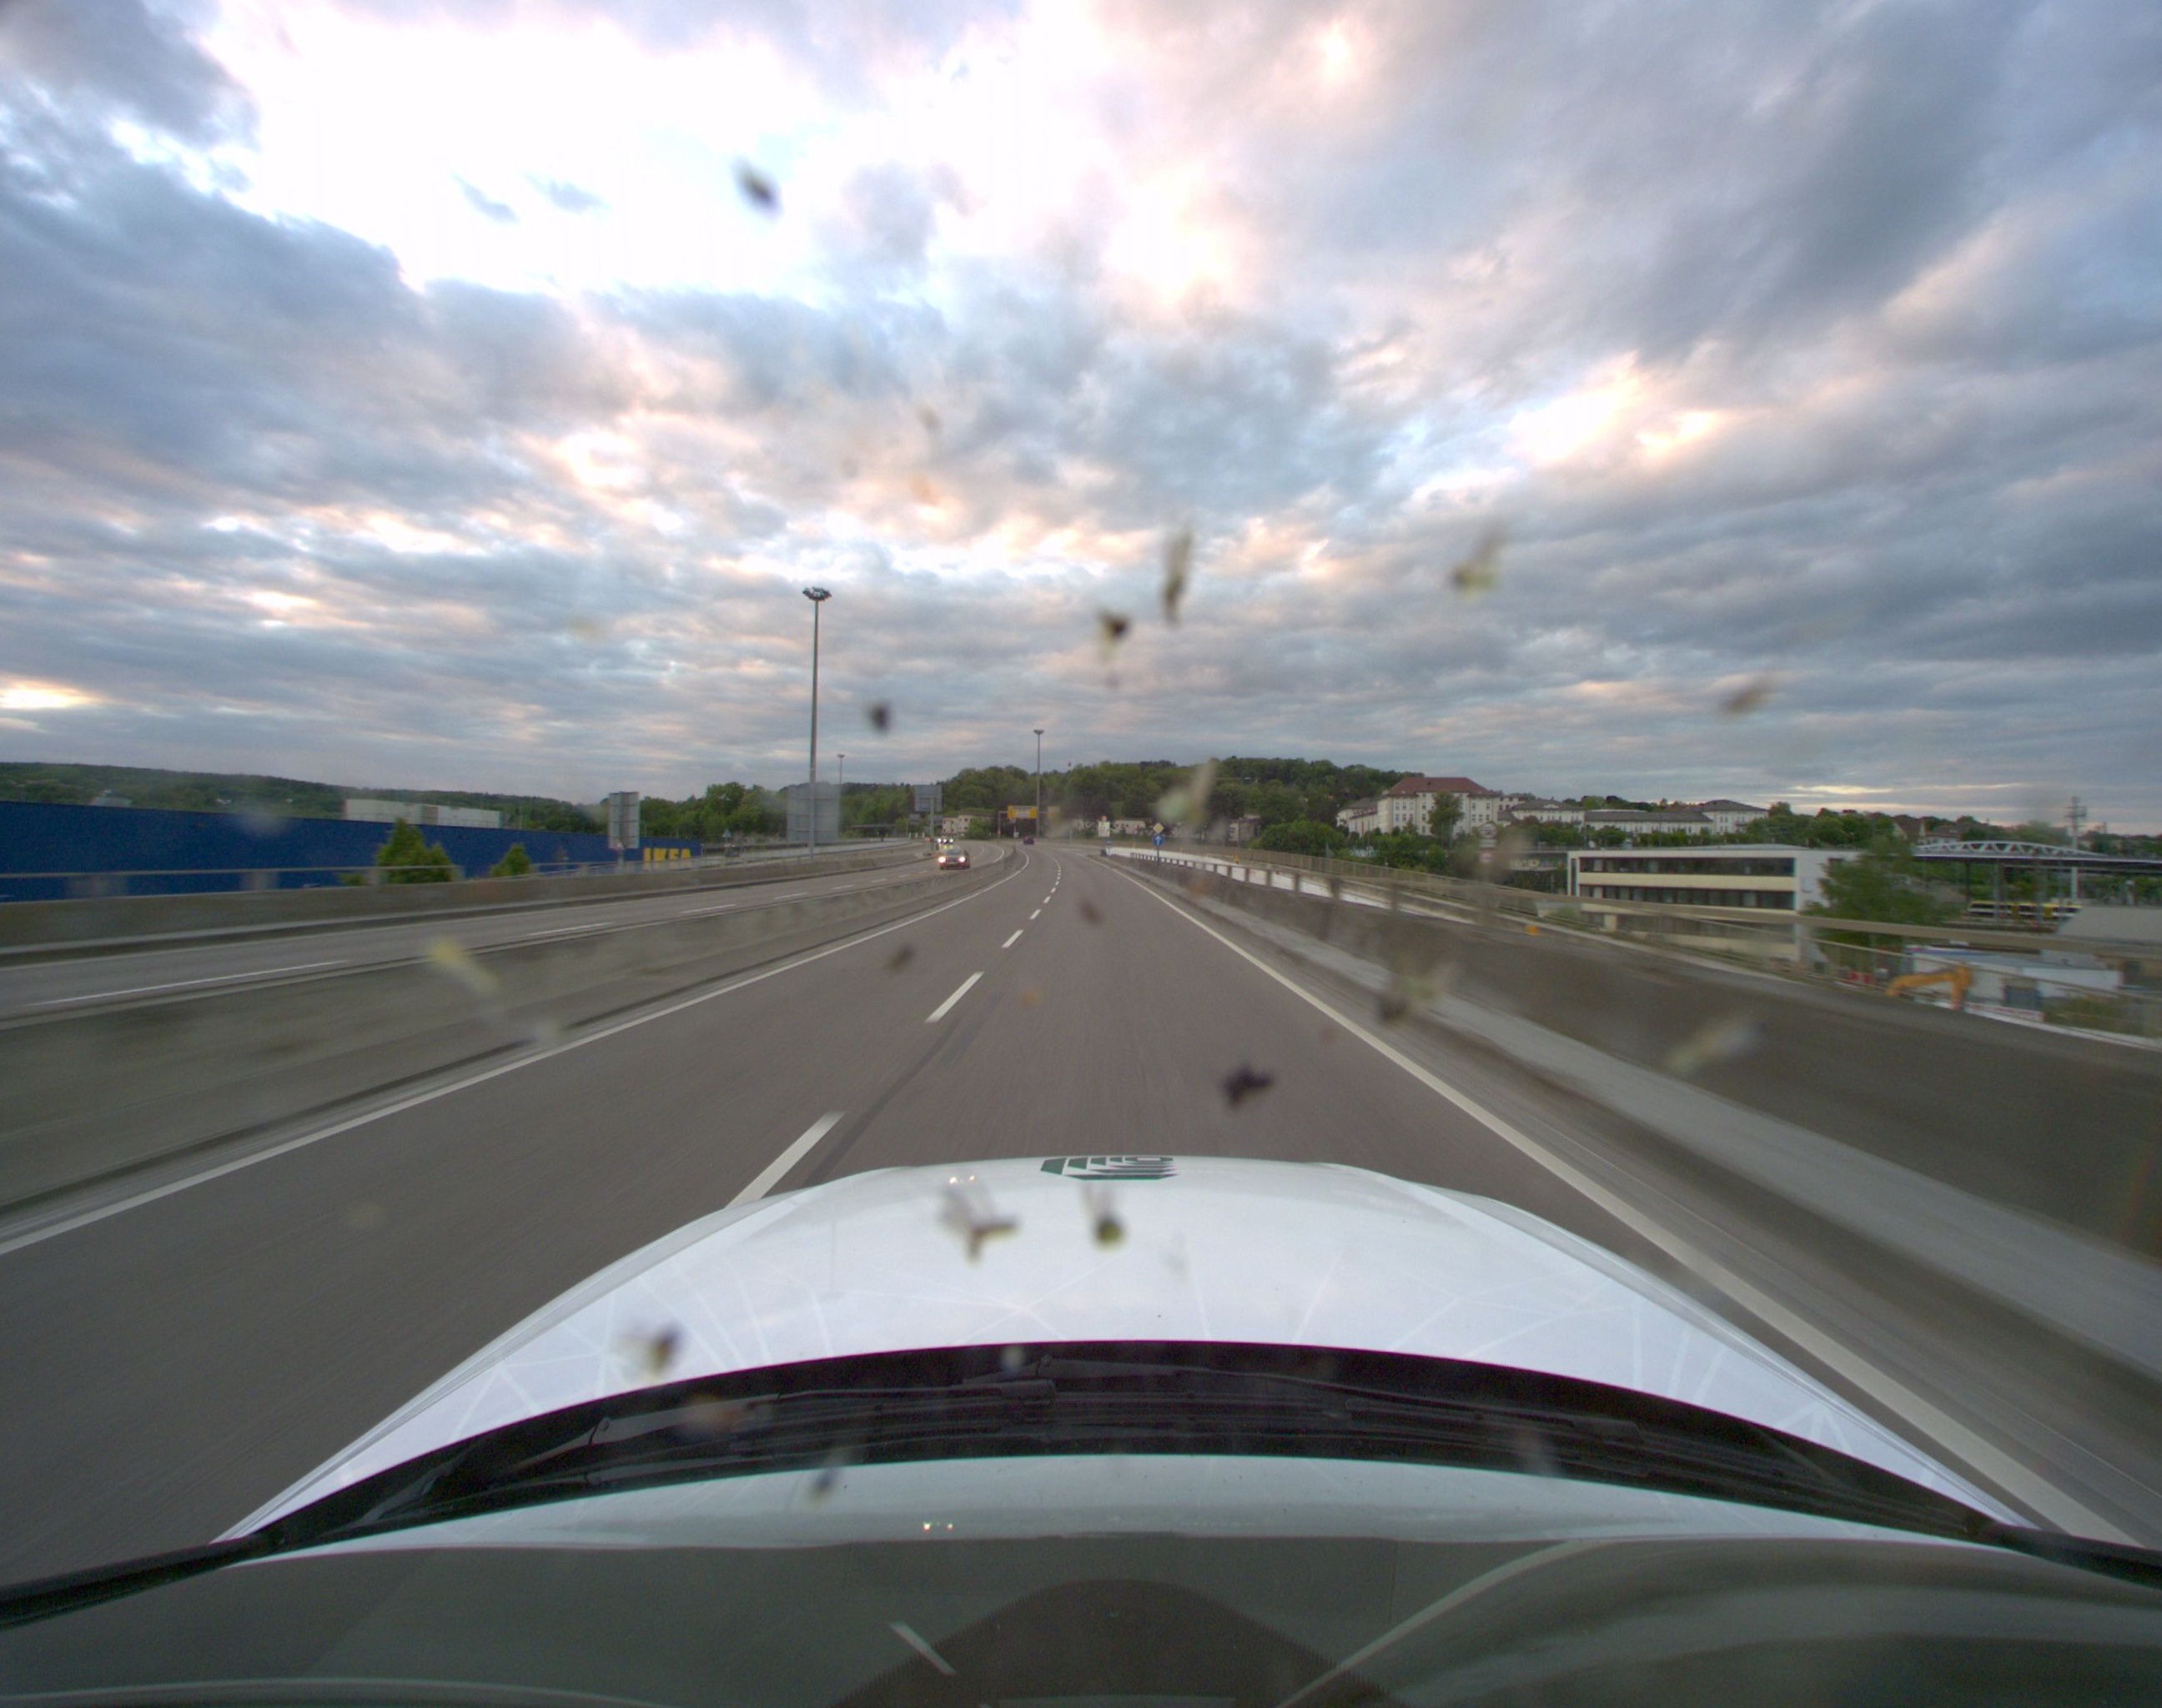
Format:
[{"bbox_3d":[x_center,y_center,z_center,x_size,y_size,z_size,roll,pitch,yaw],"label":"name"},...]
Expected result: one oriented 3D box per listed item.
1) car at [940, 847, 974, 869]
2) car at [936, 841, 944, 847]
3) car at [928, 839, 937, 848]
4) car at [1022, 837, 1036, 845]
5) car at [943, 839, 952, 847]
[{"bbox_3d":[-8.534,0.258,56.417,1.824,1.480,4.283,0,0,-2],"label":"car"},{"bbox_3d":[-33.672,-2.350,194.366,1.798,1.486,3.825,0,0,-13],"label":"car"},{"bbox_3d":[-38.779,-2.831,212.852,1.994,2.013,3.987,6,1,-10],"label":"car"},{"bbox_3d":[-11.339,-2.806,178.285,2.308,1.763,4.241,1,1,-15],"label":"car"},{"bbox_3d":[-28.463,-2.319,173.869,1.636,1.717,3.988,-5,1,-9],"label":"car"}]
